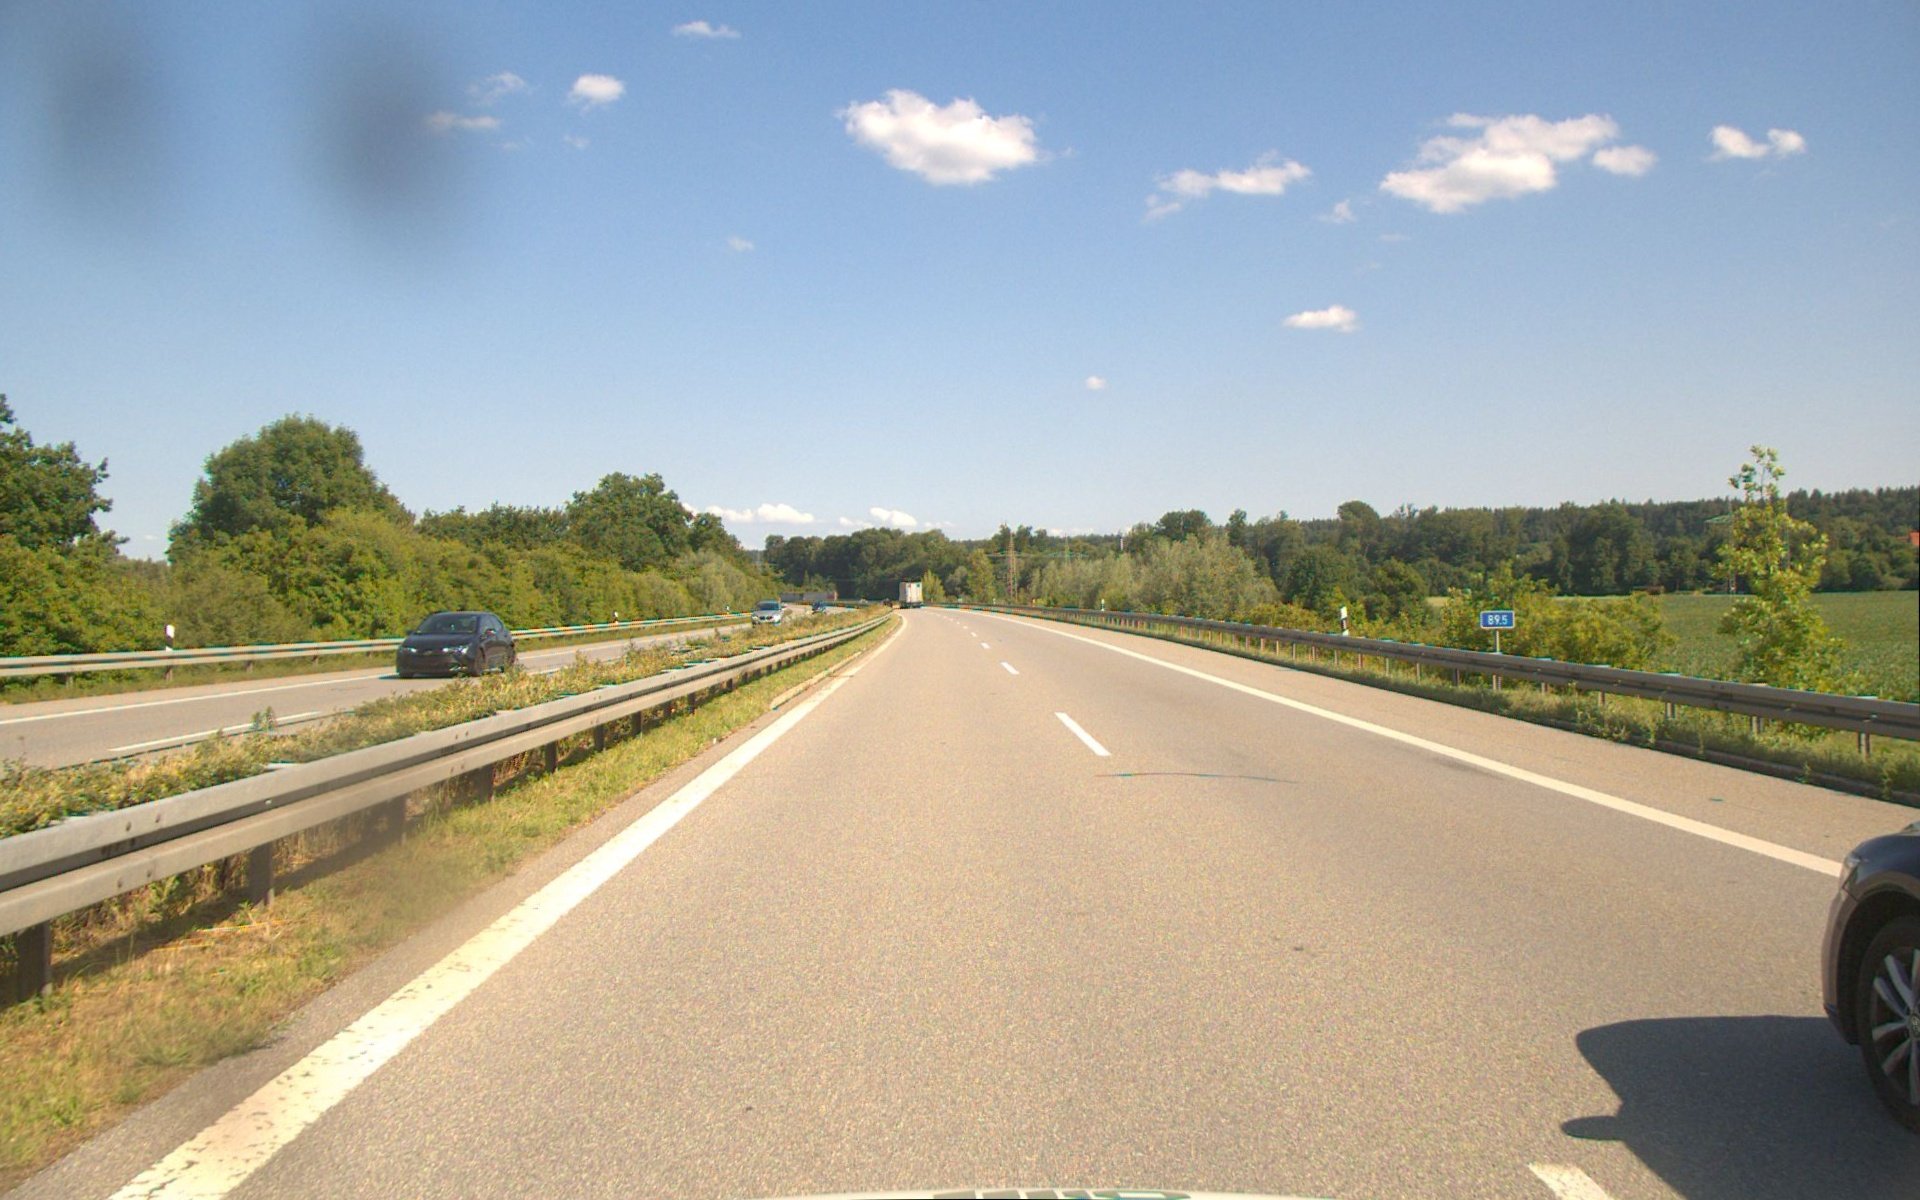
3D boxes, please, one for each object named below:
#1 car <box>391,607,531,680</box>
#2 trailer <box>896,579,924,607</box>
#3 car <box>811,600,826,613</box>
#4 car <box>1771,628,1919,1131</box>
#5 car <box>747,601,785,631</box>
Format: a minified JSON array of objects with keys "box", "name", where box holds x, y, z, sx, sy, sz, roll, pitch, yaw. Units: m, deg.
[{"box":[-11.229,0.935,37.543,1.703,1.470,4.767,-1,0,0],"name":"car"},{"box":[-7.956,-1.086,262.294,2.831,4.136,12.396,-3,1,-8],"name":"trailer"},{"box":[-17.072,0.736,199.409,1.643,1.466,3.998,-3,0,-3],"name":"car"},{"box":[3.627,0.813,3.364,1.684,1.424,4.412,1,0,-2],"name":"car"},{"box":[-11.364,0.912,97.211,1.872,1.616,4.914,-2,0,-3],"name":"car"}]
